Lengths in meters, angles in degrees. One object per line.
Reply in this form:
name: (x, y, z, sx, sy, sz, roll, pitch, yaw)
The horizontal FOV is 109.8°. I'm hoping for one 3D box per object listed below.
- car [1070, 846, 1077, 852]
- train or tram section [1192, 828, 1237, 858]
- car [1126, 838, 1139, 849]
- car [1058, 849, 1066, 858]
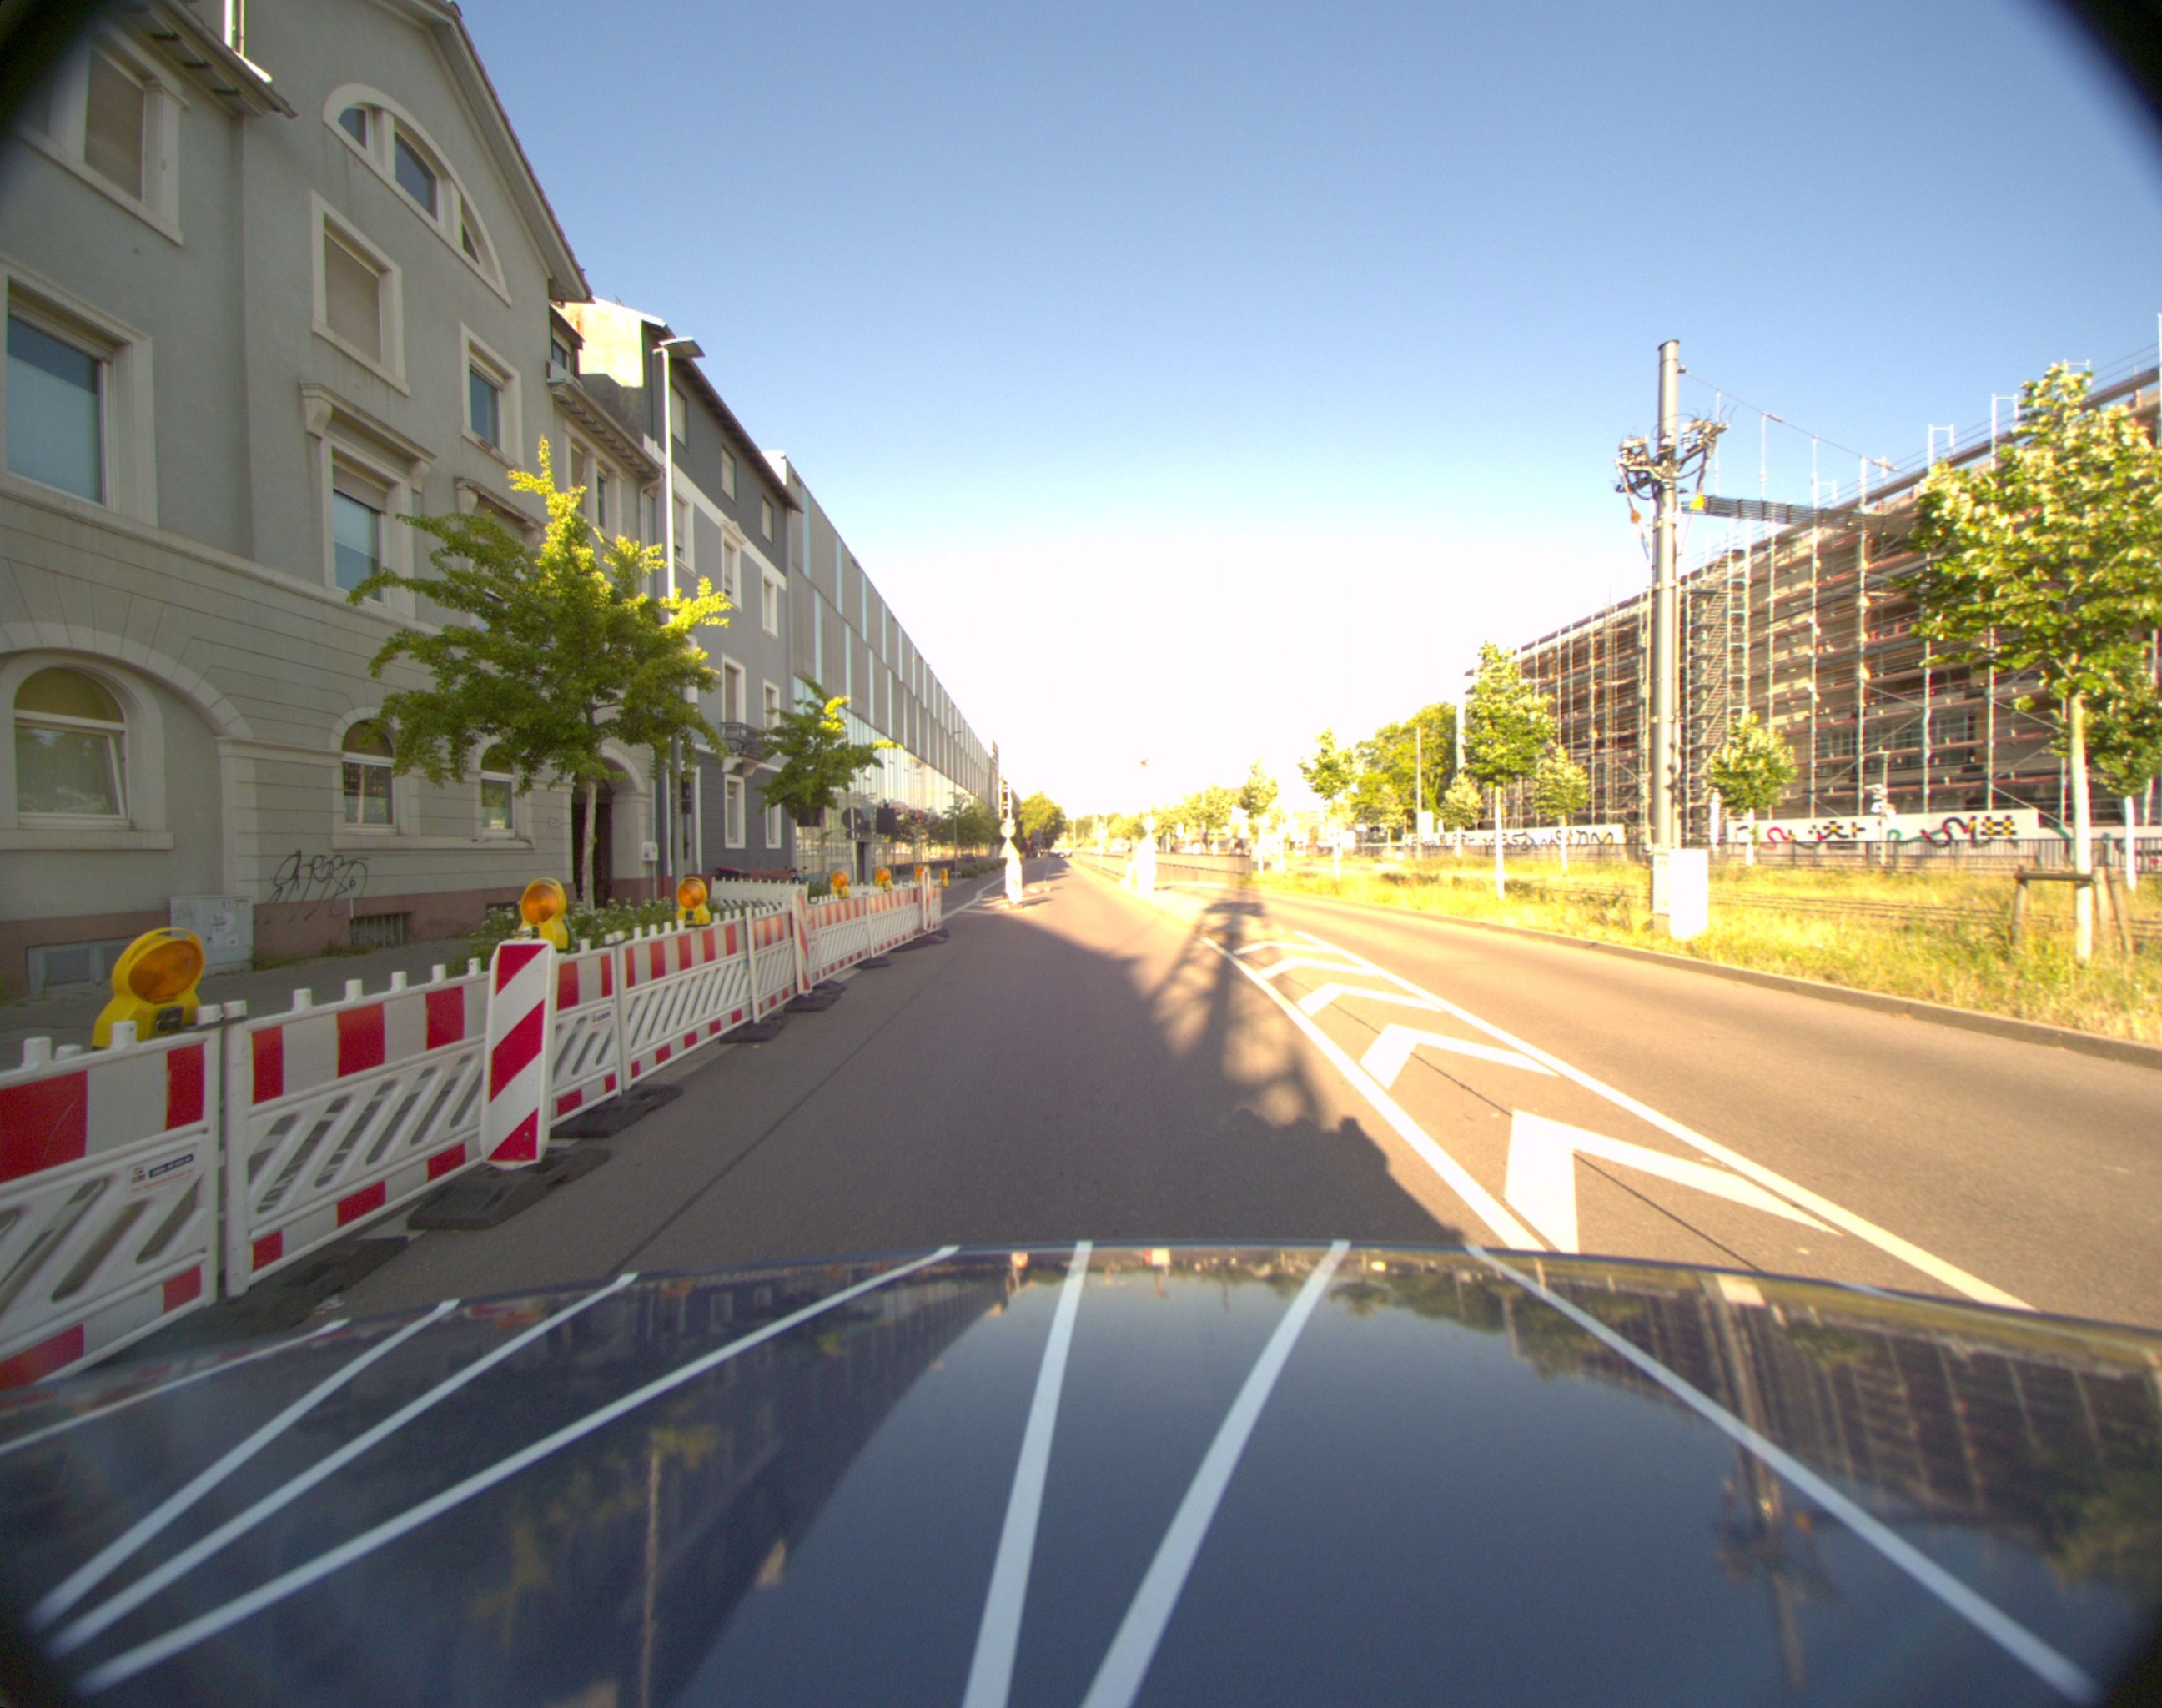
car: (-2.379, -1.612, 235.714, 1.941, 2.002, 3.825, -1, 1, -3)
train or tram section: (16.438, -1.362, 94.679, 2.954, 3.378, 12.629, -2, 1, -2)
car: (8.908, -1.829, 130.775, 1.998, 1.740, 3.999, -2, 1, 1)
car: (-4.682, -0.175, 187.597, 1.941, 2.002, 3.825, -1, 1, -3)
